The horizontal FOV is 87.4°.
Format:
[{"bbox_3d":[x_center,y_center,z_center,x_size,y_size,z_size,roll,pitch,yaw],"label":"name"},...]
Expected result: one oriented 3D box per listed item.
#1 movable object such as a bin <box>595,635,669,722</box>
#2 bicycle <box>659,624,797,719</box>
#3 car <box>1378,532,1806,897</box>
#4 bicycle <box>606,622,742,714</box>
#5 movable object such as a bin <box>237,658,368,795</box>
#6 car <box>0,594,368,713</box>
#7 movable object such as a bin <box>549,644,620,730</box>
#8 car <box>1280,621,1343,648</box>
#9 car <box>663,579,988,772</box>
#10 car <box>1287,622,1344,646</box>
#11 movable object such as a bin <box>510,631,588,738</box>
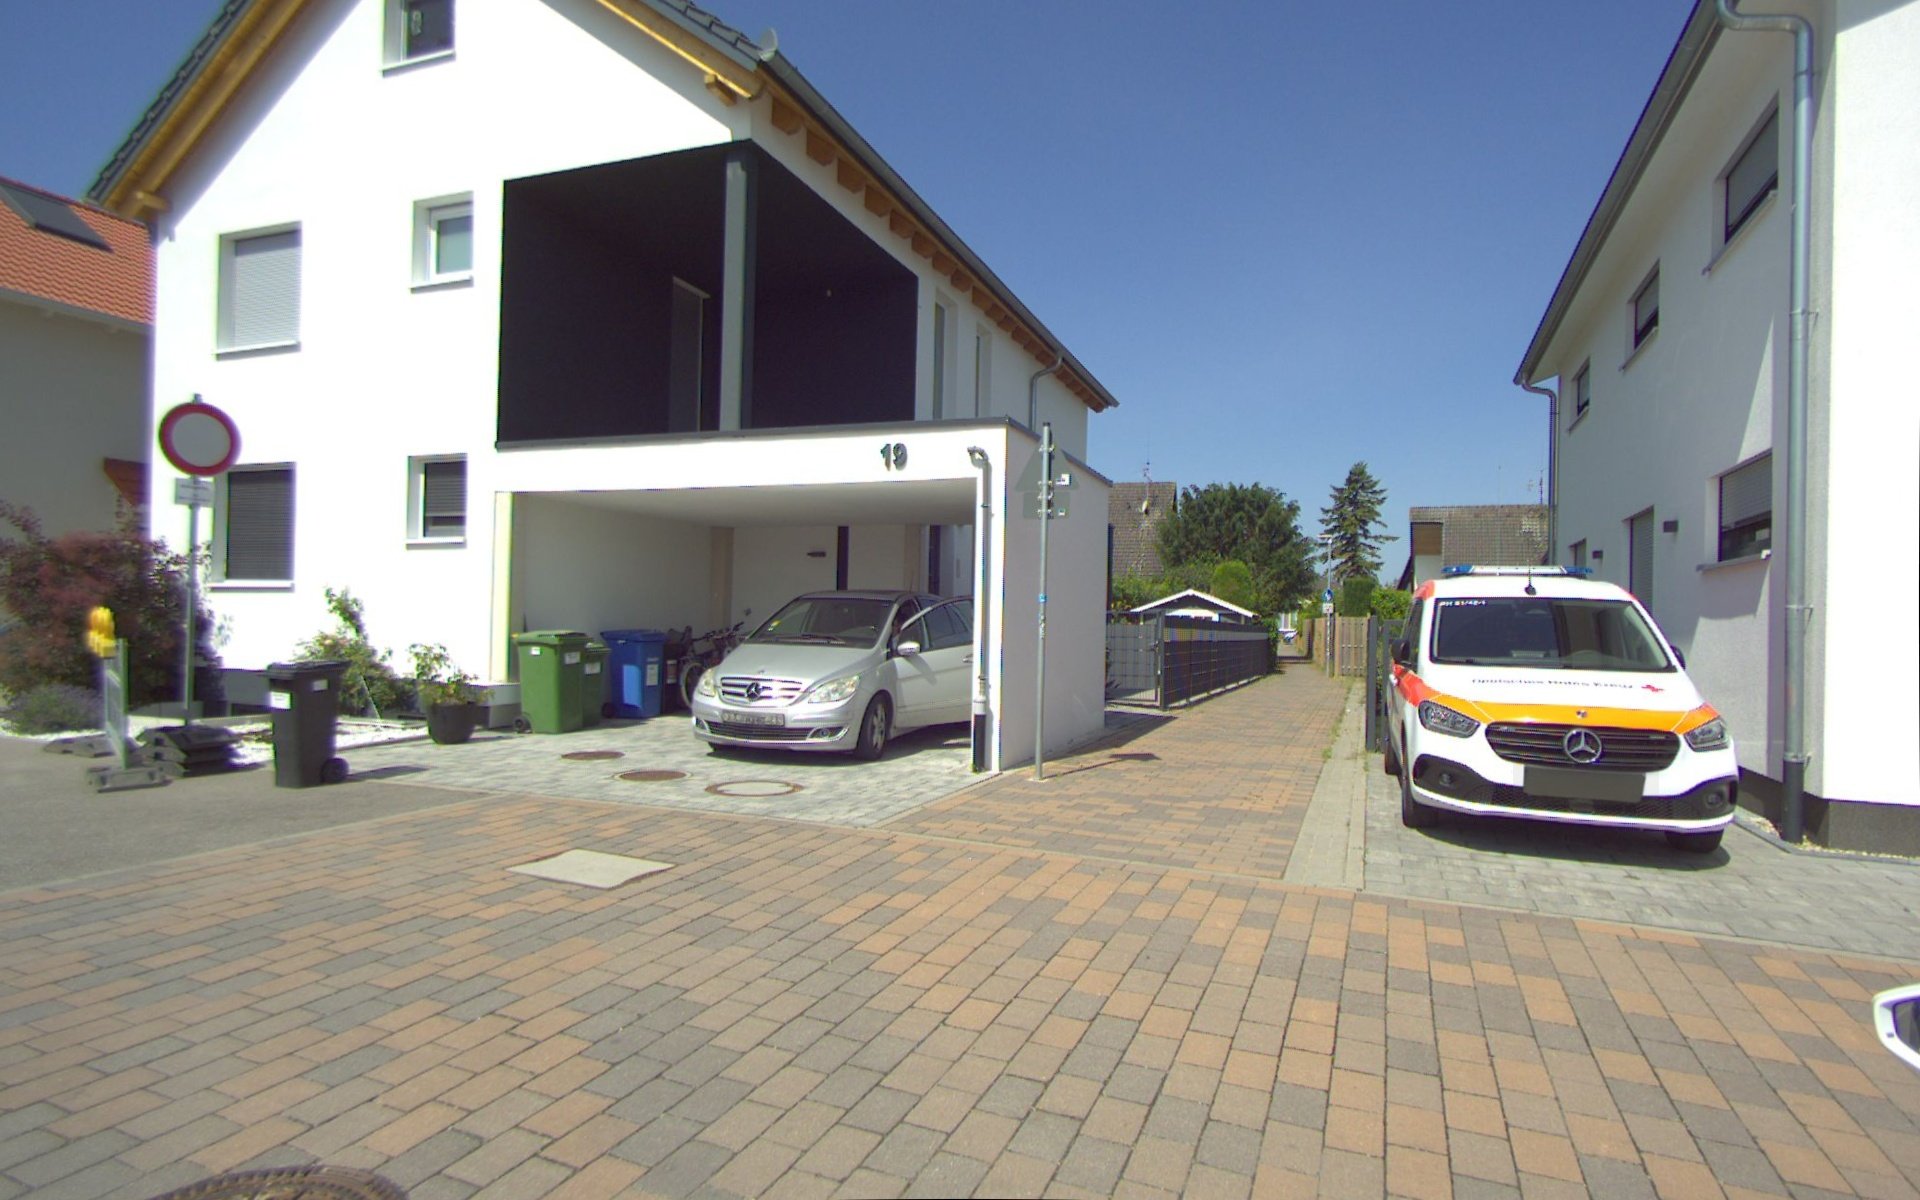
[{"bbox_3d":[-4.004,0.943,12.286,0.664,1.000,0.500,2,0,19],"label":"movable object such as a bin"},{"bbox_3d":[-3.061,0.912,13.499,0.716,1.141,2.133,2,-1,20],"label":"bicycle"},{"bbox_3d":[4.364,0.652,7.799,1.900,1.899,4.751,1,-1,21],"label":"car"},{"bbox_3d":[-3.879,0.884,13.854,0.763,1.141,2.134,2,-1,16],"label":"bicycle"},{"bbox_3d":[-4.988,0.935,7.635,0.553,0.949,0.618,0,0,19],"label":"movable object such as a bin"},{"bbox_3d":[-10.798,0.675,14.129,1.721,1.399,4.061,1,-1,20],"label":"car"},{"bbox_3d":[-4.254,0.970,11.380,0.550,0.917,0.500,0,-1,19],"label":"movable object such as a bin"},{"bbox_3d":[24.494,2.408,69.971,4.079,1.739,1.905,1,-1,21],"label":"car"},{"bbox_3d":[-1.140,0.693,10.571,1.710,1.582,4.167,1,-2,18],"label":"car"},{"bbox_3d":[27.649,2.596,78.071,4.079,1.739,1.905,1,-1,21],"label":"car"},{"bbox_3d":[-4.409,0.891,10.795,0.590,1.106,0.500,-1,-1,19],"label":"movable object such as a bin"}]
